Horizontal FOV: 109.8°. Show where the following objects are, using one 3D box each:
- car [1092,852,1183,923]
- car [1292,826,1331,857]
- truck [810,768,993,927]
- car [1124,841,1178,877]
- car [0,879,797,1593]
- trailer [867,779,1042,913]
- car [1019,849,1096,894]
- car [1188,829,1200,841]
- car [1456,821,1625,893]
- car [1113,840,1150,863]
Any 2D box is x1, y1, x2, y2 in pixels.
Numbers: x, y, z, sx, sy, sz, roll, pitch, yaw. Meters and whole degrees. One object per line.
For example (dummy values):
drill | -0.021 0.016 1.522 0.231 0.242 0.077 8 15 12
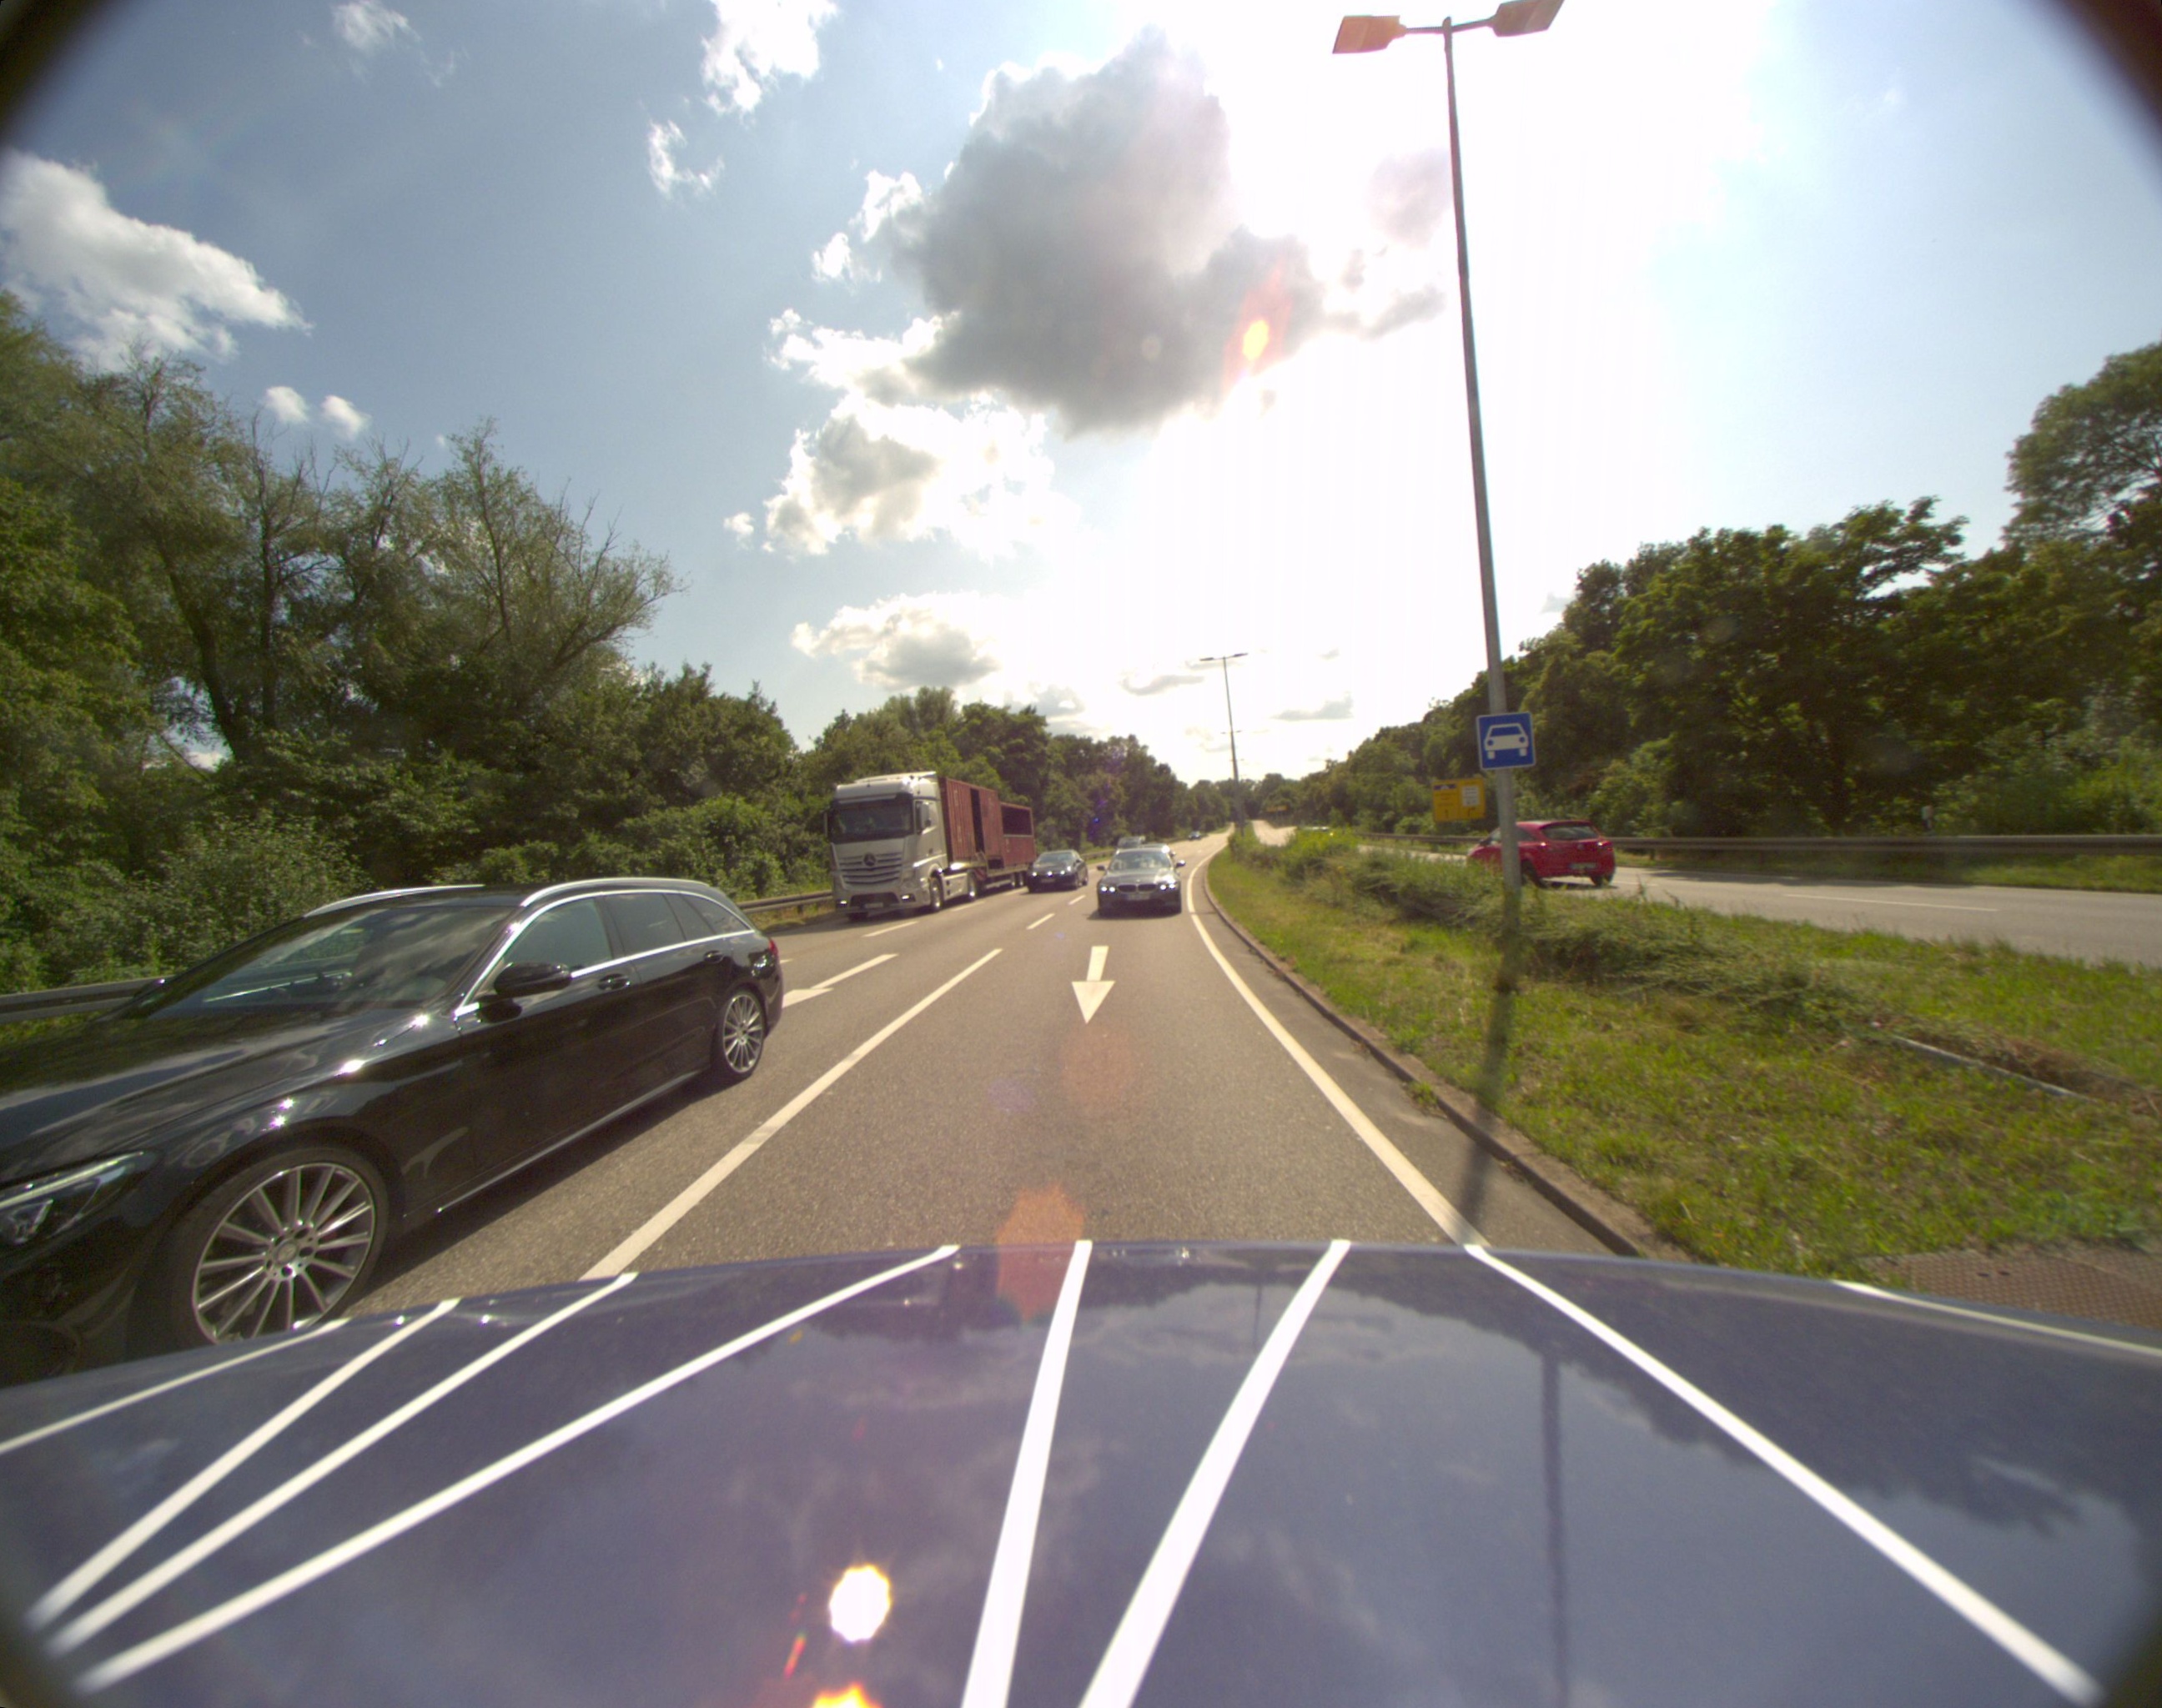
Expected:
car | 1.437 0.695 17.827 1.857 1.354 4.002 -2 1 8
car | 12.745 -0.706 42.197 1.713 1.577 4.285 -2 1 13
truck | -5.004 -0.200 22.822 2.775 3.823 6.823 -5 0 8
car | 3.201 0.173 33.970 1.857 1.403 4.003 -4 0 12
car | -3.286 1.006 3.728 1.795 1.427 4.370 -4 1 4
trailer | -4.159 -0.335 29.034 2.777 3.828 12.326 -4 1 8
car | -0.781 0.588 28.190 1.857 1.403 4.003 -4 0 12
car | 19.812 -3.376 132.691 1.975 2.002 4.001 -3 2 9
car | 10.456 0.035 17.667 1.585 1.424 4.000 -2 1 2
car | 3.491 -0.223 52.065 1.857 1.403 4.003 -4 0 12
